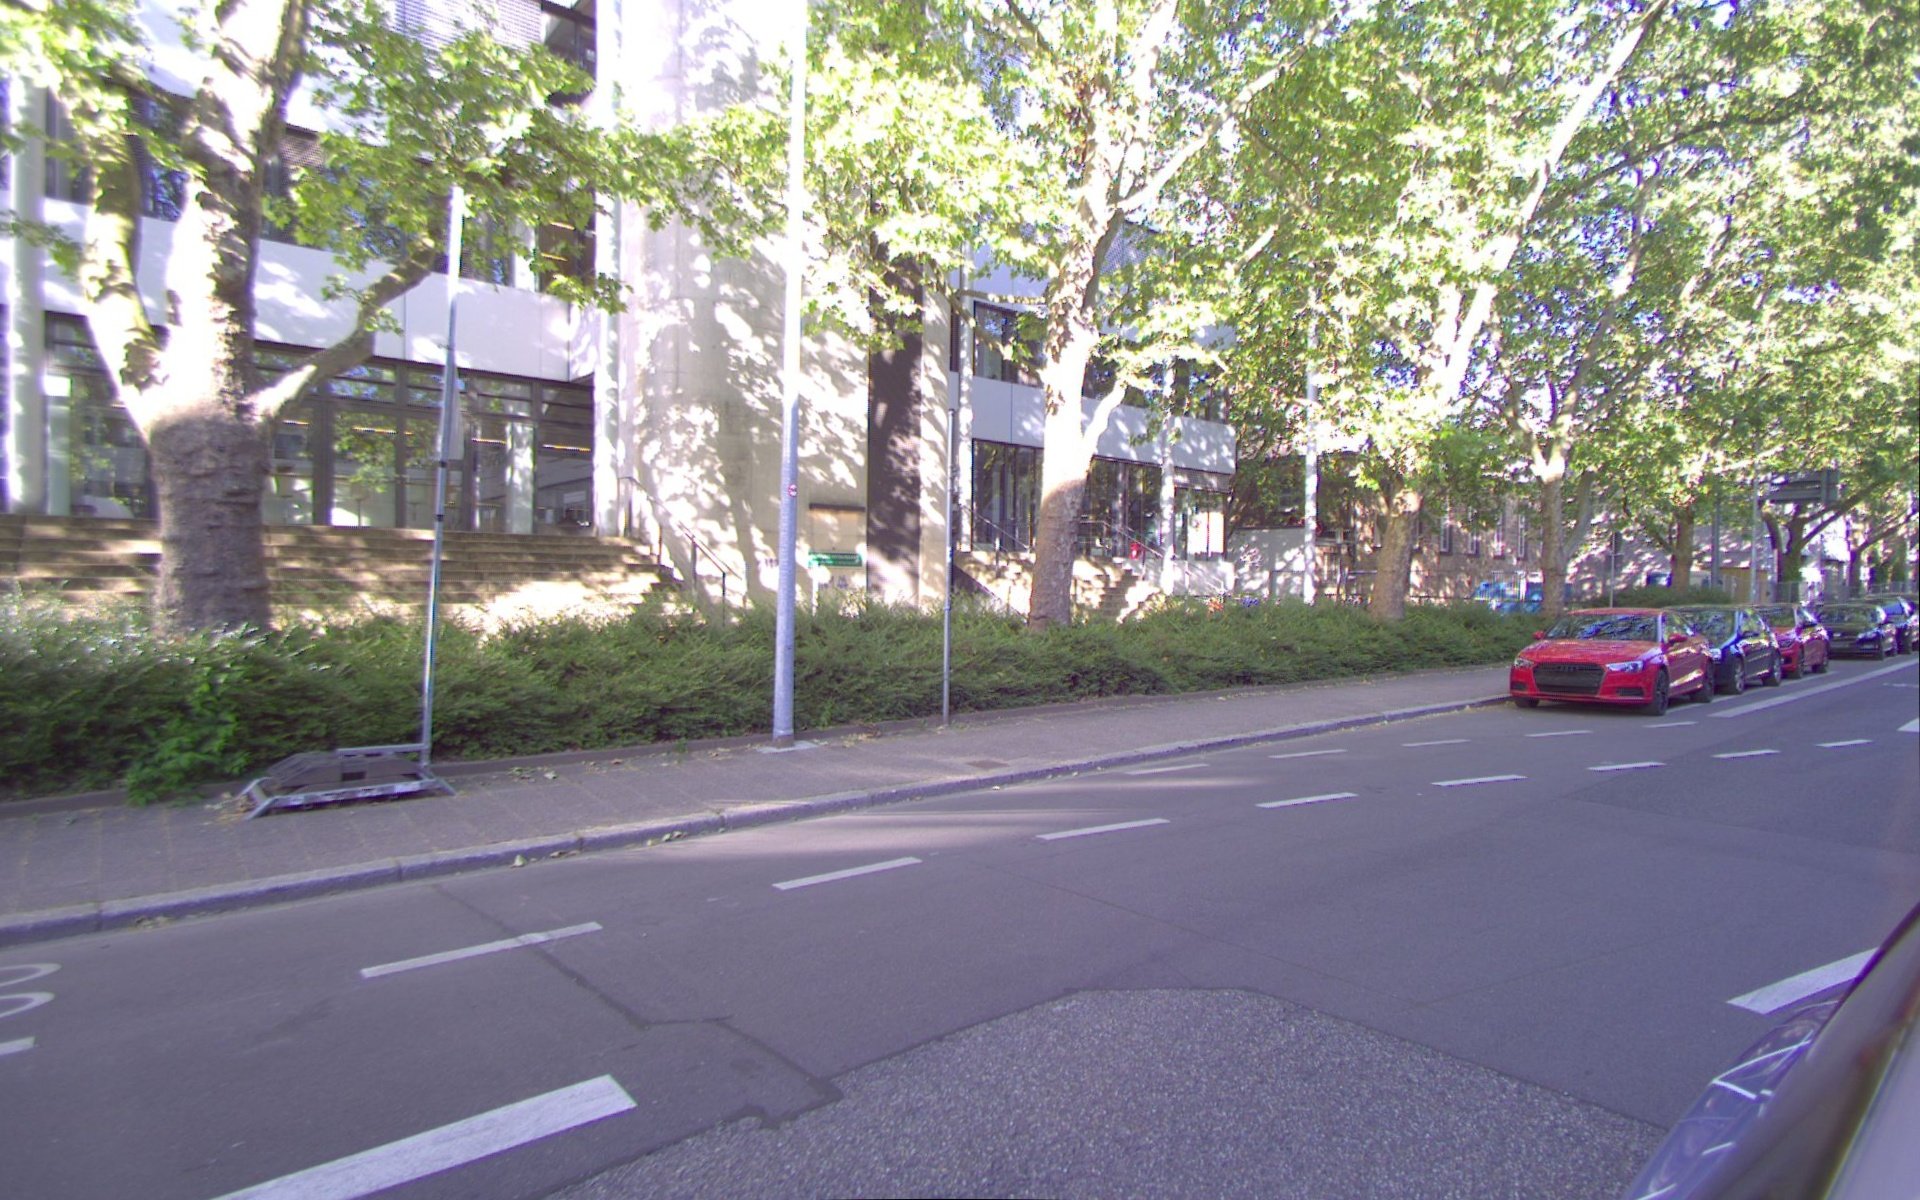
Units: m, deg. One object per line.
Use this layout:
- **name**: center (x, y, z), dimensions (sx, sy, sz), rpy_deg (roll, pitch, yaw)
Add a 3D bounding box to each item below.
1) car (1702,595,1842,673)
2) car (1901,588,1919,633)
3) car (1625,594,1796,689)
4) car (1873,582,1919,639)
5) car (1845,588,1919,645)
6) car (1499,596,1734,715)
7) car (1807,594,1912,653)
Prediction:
- **car**: center (16.933, 0.638, 21.042), dimensions (3.674, 1.483, 1.634), rpy_deg (0, 0, -41)
- **car**: center (37.081, 0.374, 38.388), dimensions (3.778, 1.675, 1.634), rpy_deg (0, 0, -41)
- **car**: center (13.157, 0.647, 17.684), dimensions (3.674, 1.483, 1.634), rpy_deg (0, 0, -41)
- **car**: center (32.276, 0.337, 34.218), dimensions (3.778, 1.828, 1.634), rpy_deg (0, 0, -41)
- **car**: center (27.835, 0.461, 30.187), dimensions (3.778, 1.607, 1.634), rpy_deg (0, 0, -41)
- **car**: center (9.580, 0.688, 14.660), dimensions (4.053, 1.483, 1.802), rpy_deg (0, 0, -41)
- **car**: center (24.072, 0.587, 27.041), dimensions (3.674, 1.483, 1.634), rpy_deg (0, 0, -41)
